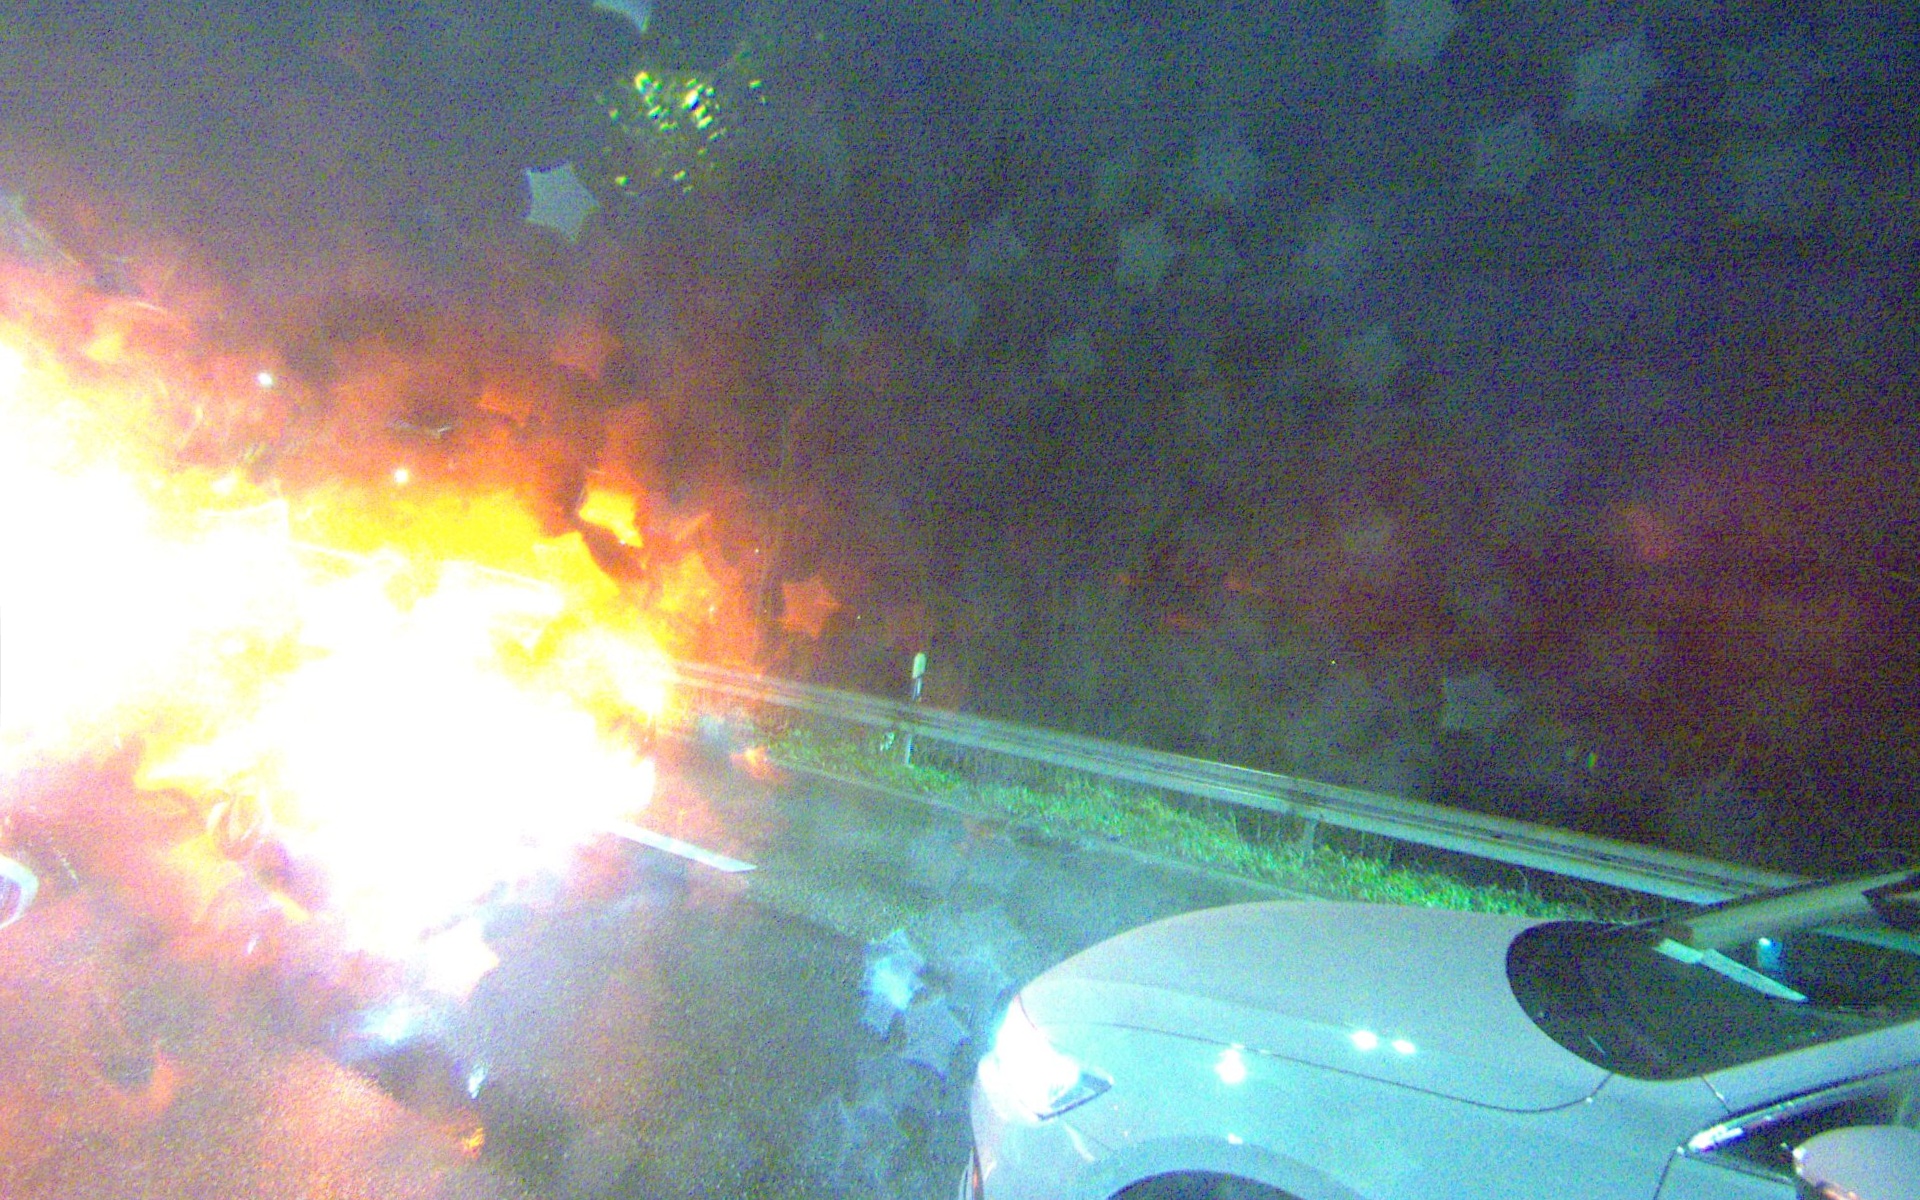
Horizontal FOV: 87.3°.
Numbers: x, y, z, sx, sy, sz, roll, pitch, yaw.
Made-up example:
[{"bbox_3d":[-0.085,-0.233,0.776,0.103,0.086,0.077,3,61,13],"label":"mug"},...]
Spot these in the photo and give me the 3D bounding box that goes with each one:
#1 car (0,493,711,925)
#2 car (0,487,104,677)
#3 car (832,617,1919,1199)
[{"bbox_3d":[-3.737,0.393,5.761,4.484,1.522,1.677,6,-3,32],"label":"car"},{"bbox_3d":[-9.685,-0.358,9.027,3.892,1.539,1.681,6,-2,29],"label":"car"},{"bbox_3d":[2.055,1.080,1.588,4.342,1.539,1.710,6,-2,32],"label":"car"}]
